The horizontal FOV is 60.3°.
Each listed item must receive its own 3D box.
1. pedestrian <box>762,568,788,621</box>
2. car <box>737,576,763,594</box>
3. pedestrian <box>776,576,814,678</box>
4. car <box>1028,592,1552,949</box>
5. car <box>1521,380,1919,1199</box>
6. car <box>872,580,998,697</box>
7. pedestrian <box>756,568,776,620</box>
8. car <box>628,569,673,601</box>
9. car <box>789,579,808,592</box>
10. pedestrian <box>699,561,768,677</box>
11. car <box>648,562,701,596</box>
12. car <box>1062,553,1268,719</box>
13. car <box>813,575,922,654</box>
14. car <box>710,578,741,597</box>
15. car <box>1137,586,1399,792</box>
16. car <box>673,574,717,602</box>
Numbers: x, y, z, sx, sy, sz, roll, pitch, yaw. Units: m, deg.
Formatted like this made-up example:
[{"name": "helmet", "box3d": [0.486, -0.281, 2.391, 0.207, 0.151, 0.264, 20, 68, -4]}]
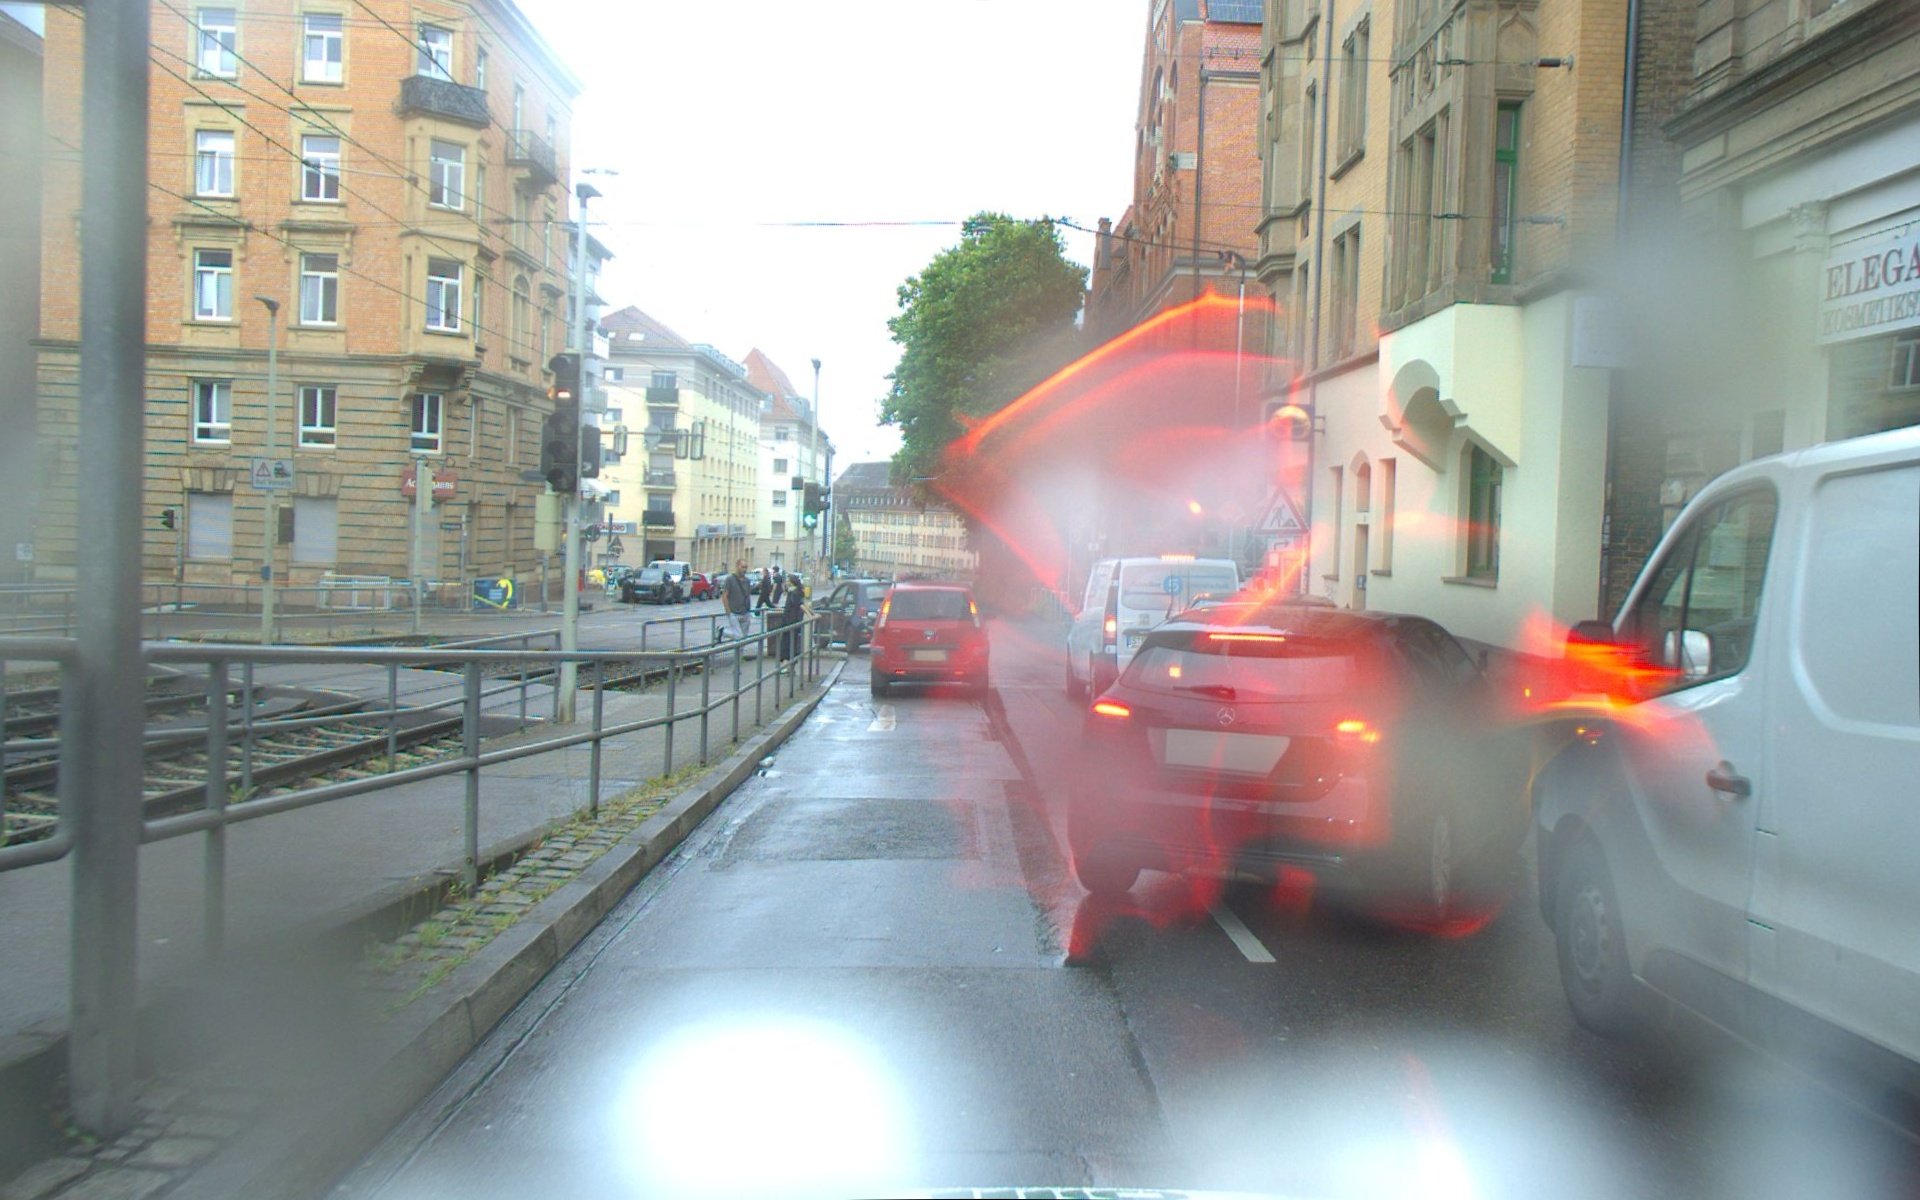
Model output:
[{"name": "pedestrian", "box3d": [-6.027, -0.181, 53.948, 0.664, 1.690, 0.676, 1, 0, 6]}, {"name": "car", "box3d": [-14.363, -1.042, 113.276, 1.366, 1.191, 3.162, 2, 0, 0]}, {"name": "pedestrian", "box3d": [-2.563, 0.415, 25.605, 0.521, 1.557, 0.436, 2, 0, -8]}, {"name": "car", "box3d": [2.018, 0.711, 9.003, 1.857, 1.414, 3.997, 2, 0, 25]}, {"name": "car", "box3d": [3.113, 0.511, 4.085, 1.881, 1.969, 4.686, 2, 0, 1]}, {"name": "car", "box3d": [-0.390, 0.492, 23.739, 1.646, 1.515, 3.611, 1, 1, -2]}, {"name": "pedestrian", "box3d": [-6.435, -0.196, 54.858, 0.507, 1.695, 0.477, 3, 0, 3]}, {"name": "car", "box3d": [-13.899, -0.670, 74.361, 1.422, 1.341, 3.294, 3, 1, -1]}, {"name": "car", "box3d": [-14.906, -1.337, 152.826, 1.366, 1.191, 3.162, 2, 0, 0]}, {"name": "pedestrian", "box3d": [-3.515, 0.287, 25.682, 0.735, 1.754, 0.729, 2, 0, -43]}, {"name": "car", "box3d": [-13.953, -0.999, 80.912, 1.750, 1.556, 4.462, 2, 0, 0]}, {"name": "car", "box3d": [2.516, 0.389, 21.340, 1.894, 1.863, 4.279, 2, 1, -3]}, {"name": "car", "box3d": [-2.009, 0.283, 35.241, 1.399, 1.515, 3.143, 2, 1, -21]}, {"name": "car", "box3d": [-14.170, -0.748, 99.958, 1.407, 1.126, 3.162, 2, 0, 0]}, {"name": "car", "box3d": [2.554, 0.659, 14.632, 1.677, 1.494, 4.282, 2, 0, 3]}, {"name": "car", "box3d": [-13.957, -0.626, 87.223, 1.646, 1.379, 3.703, 2, 0, 0]}]
